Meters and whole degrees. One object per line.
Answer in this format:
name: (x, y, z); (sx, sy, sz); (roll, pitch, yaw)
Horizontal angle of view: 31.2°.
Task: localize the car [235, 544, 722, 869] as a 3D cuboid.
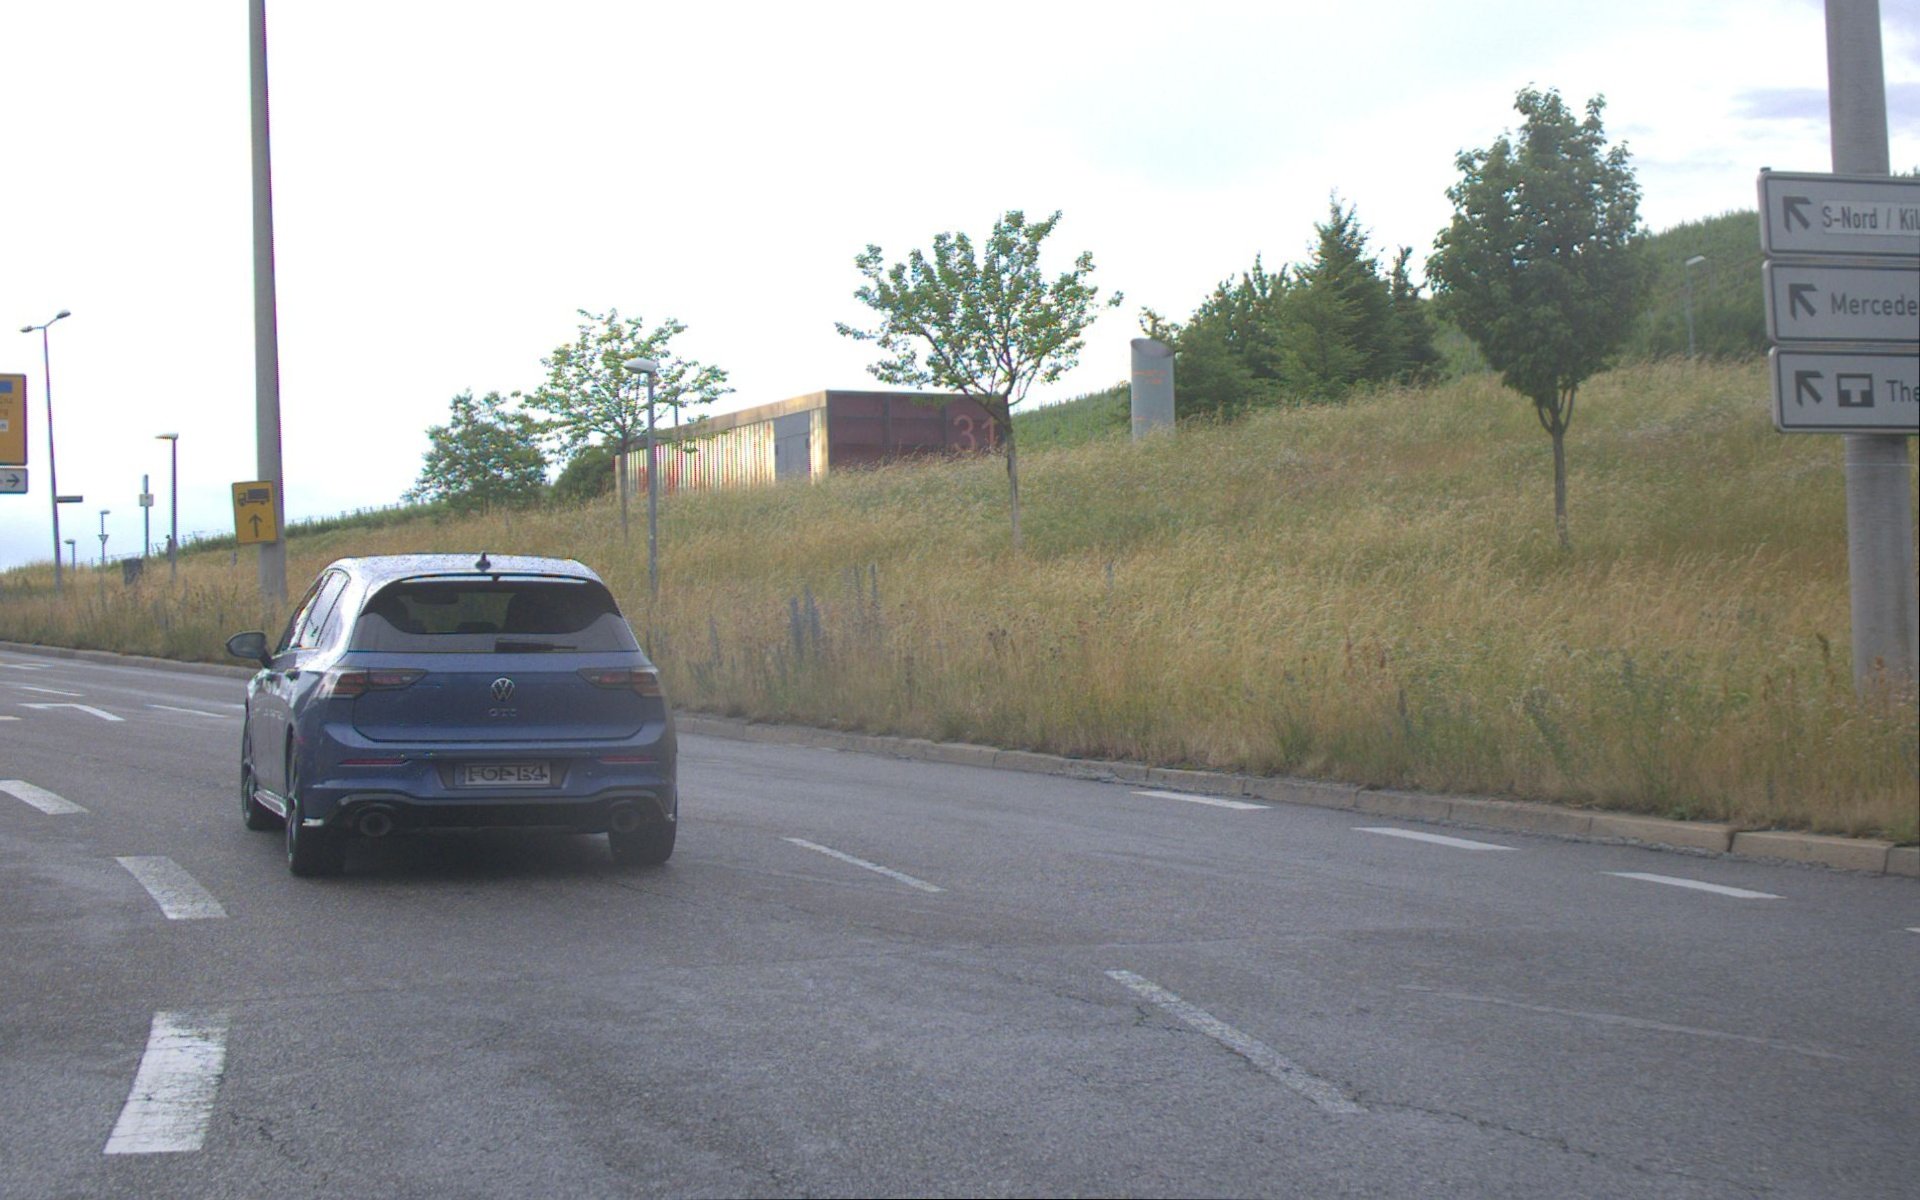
car: (-2.489, 0.433, 16.935); (1.837, 1.389, 4.001); (0, 1, -16)
